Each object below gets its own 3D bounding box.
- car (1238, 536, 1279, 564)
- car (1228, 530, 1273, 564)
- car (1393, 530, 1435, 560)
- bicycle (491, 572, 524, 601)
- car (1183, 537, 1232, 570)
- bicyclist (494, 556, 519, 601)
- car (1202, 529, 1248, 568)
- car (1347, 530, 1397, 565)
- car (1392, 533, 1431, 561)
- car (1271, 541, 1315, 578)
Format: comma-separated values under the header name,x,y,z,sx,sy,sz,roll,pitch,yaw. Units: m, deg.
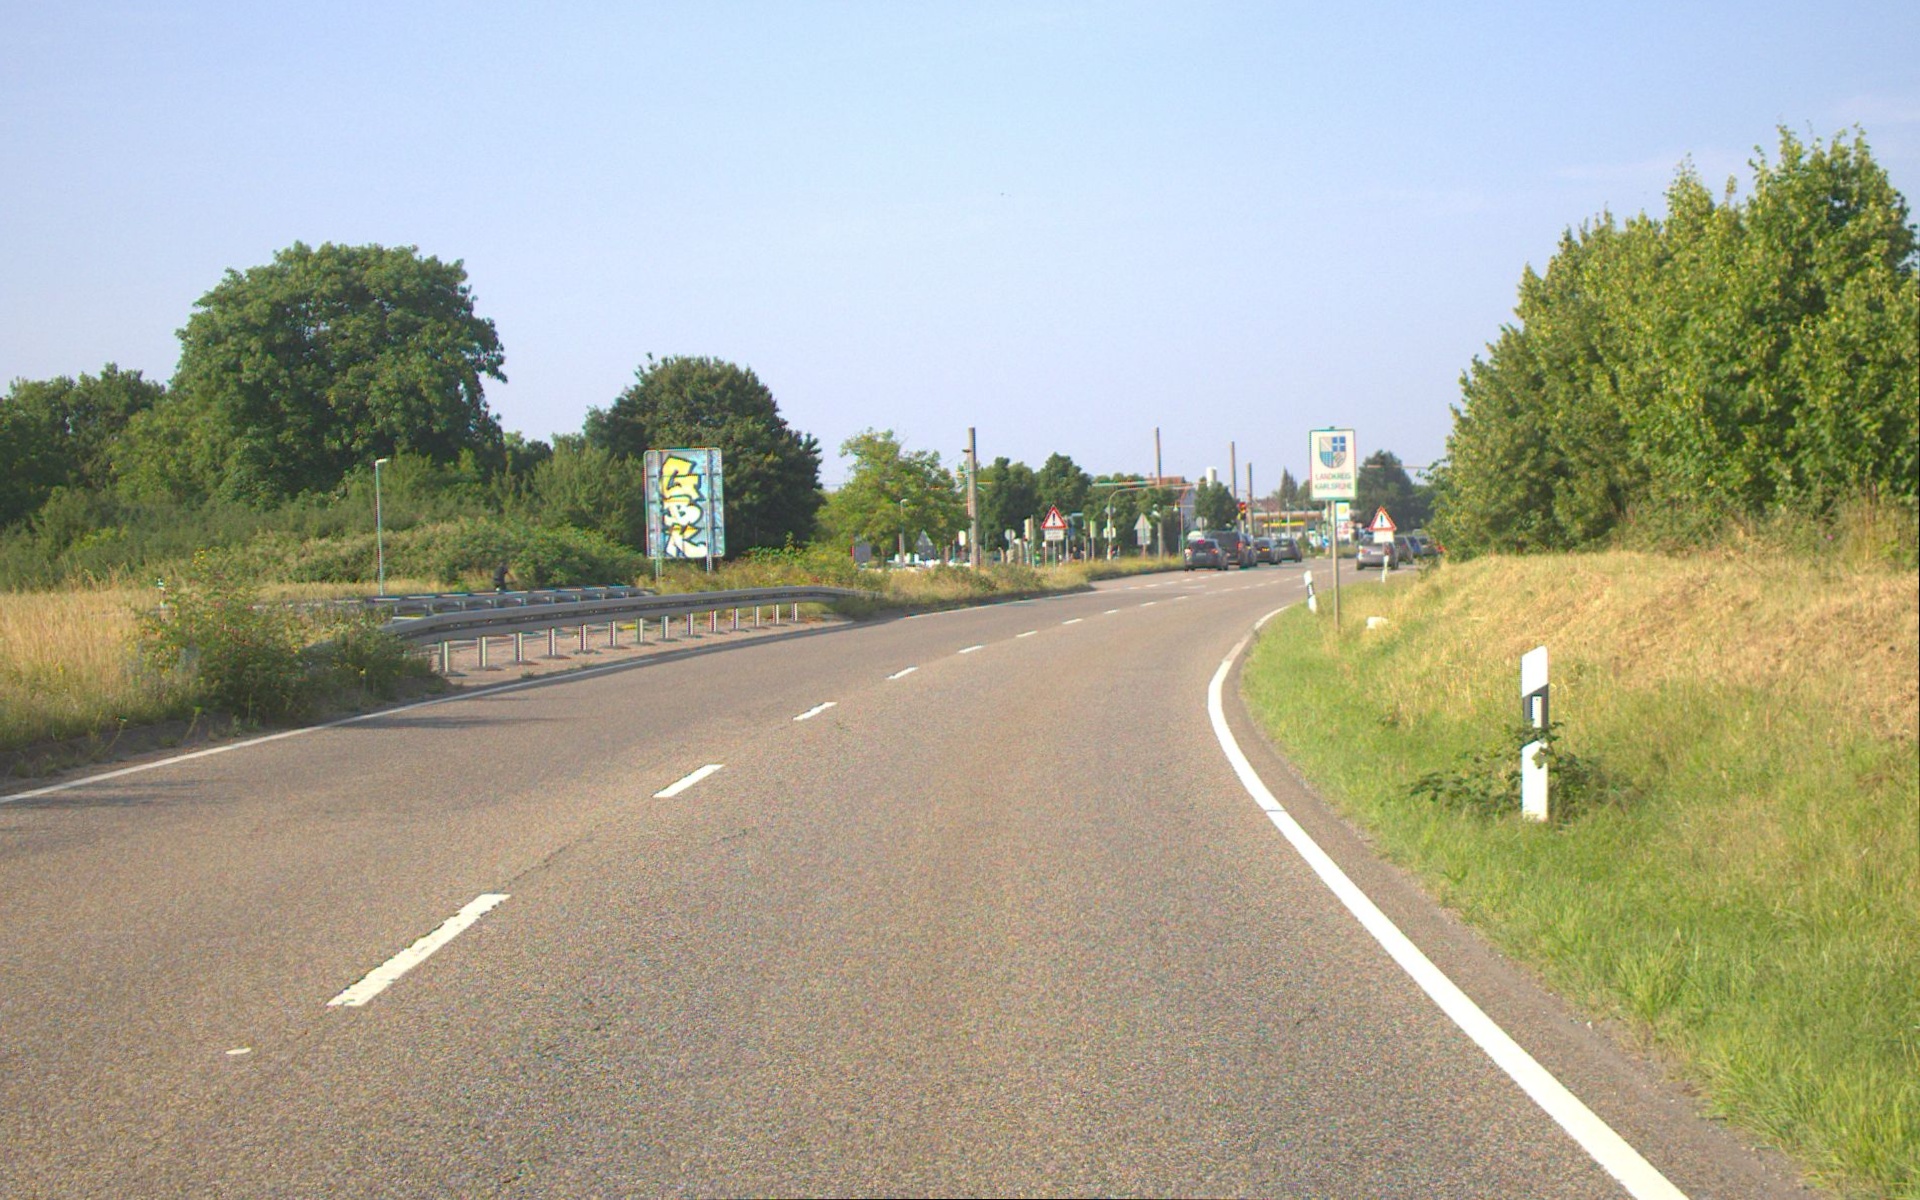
name,x,y,z,sx,sy,sz,roll,pitch,yaw
car,15.995,-2.678,184.044,1.770,1.466,4.013,-1,1,11
car,14.775,-2.700,174.629,1.770,1.673,4.518,-1,1,11
car,23.773,-2.885,179.947,1.994,1.546,3.998,-1,1,11
bicycle,-14.337,-0.439,109.033,0.530,0.875,1.704,-1,1,10
car,11.555,-2.177,160.212,1.733,1.451,4.518,-1,1,11
bicyclist,-14.374,-0.690,109.020,0.467,1.385,1.047,-1,1,10
car,12.893,-2.515,166.939,1.733,1.849,4.518,-1,1,11
car,18.763,-2.406,156.576,1.994,1.546,3.998,-1,1,11
car,26.162,-3.056,199.199,1.994,1.546,3.998,-1,1,11
car,19.556,-2.389,201.669,1.994,2.007,4.833,-1,-1,13
